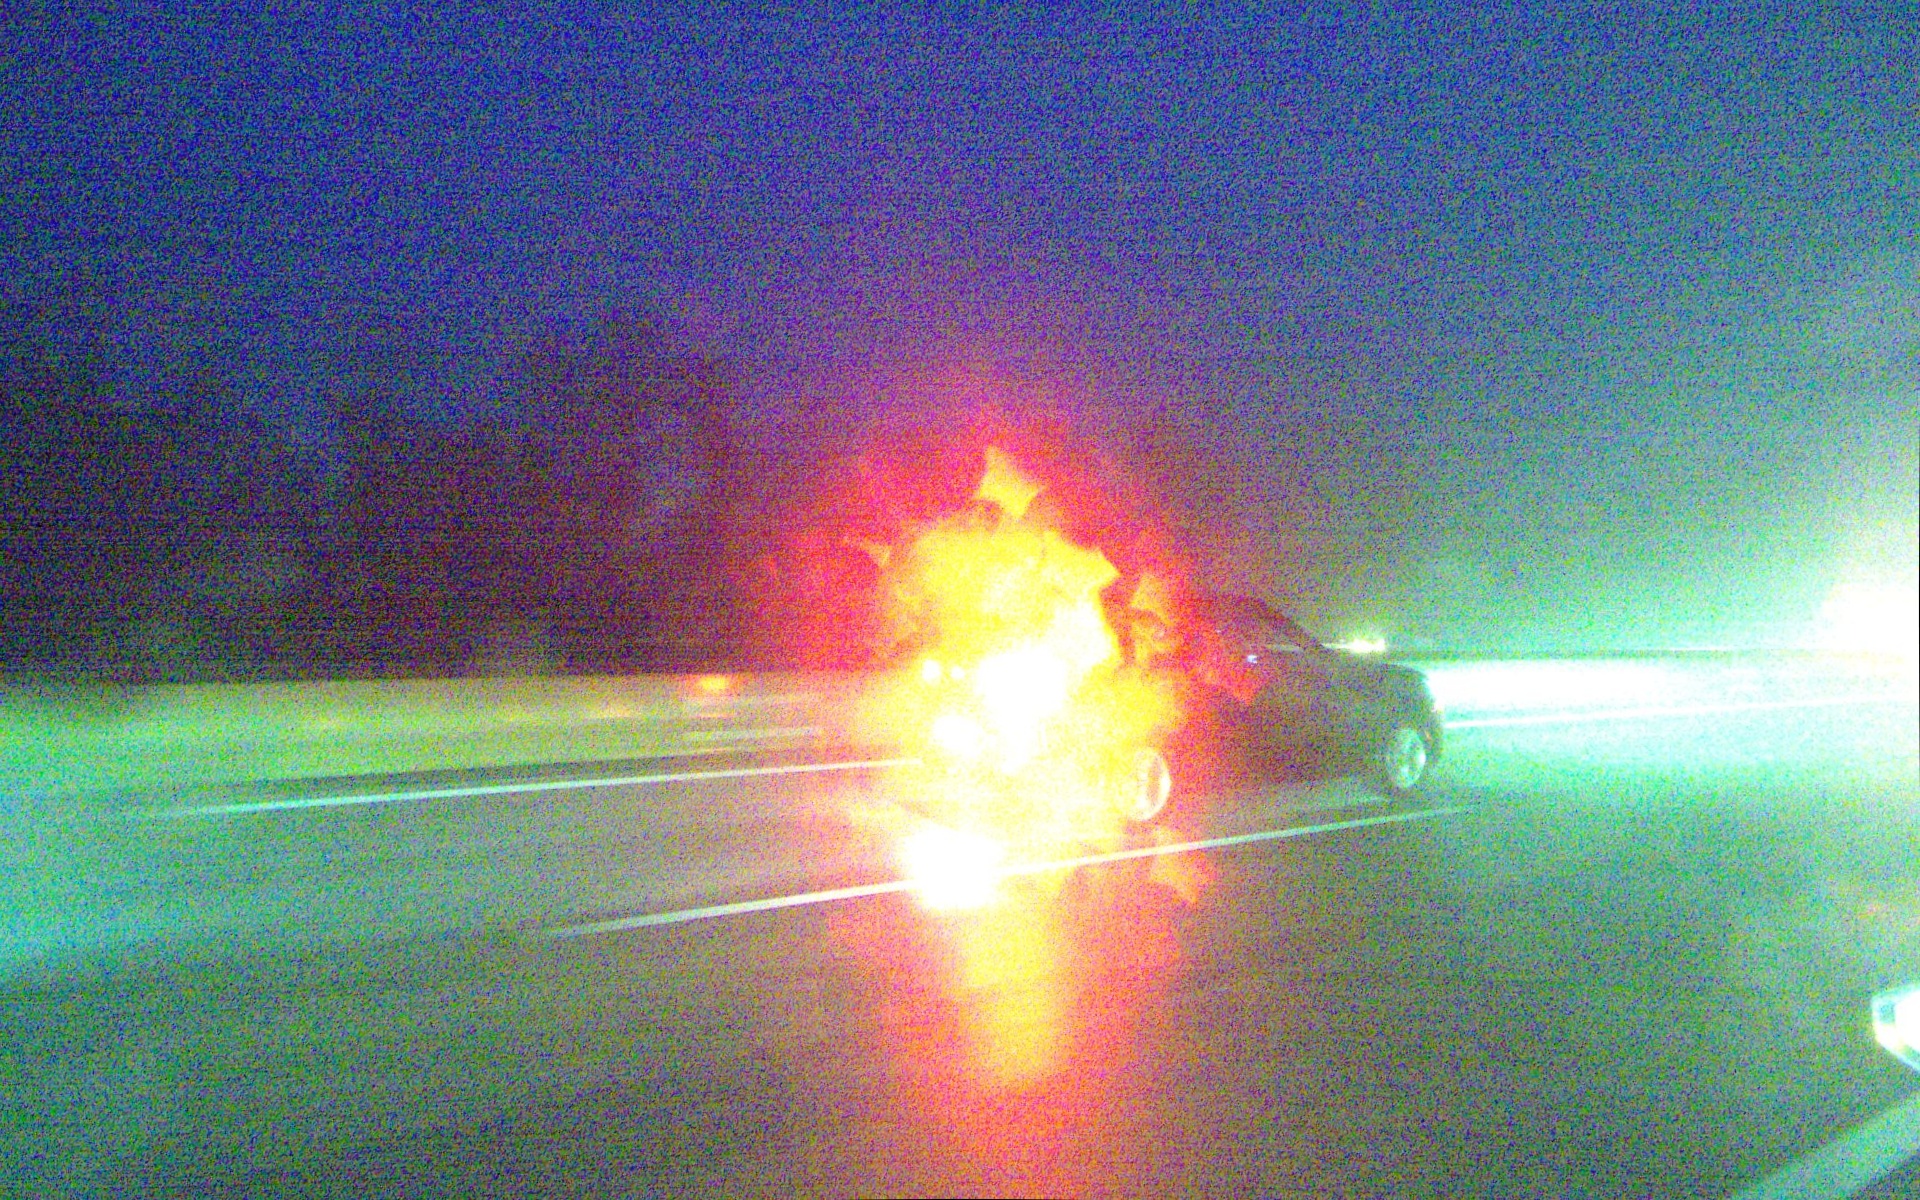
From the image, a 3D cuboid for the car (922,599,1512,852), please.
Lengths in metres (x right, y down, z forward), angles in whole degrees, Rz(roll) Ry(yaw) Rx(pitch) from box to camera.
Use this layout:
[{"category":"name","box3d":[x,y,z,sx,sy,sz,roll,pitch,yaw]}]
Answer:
[{"category":"car","box3d":[2.195,0.818,8.187,4.693,1.561,1.850,1,0,-29]}]

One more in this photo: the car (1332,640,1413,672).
[{"category":"car","box3d":[24.948,3.329,60.737,4.507,1.795,1.988,1,0,-25]}]
